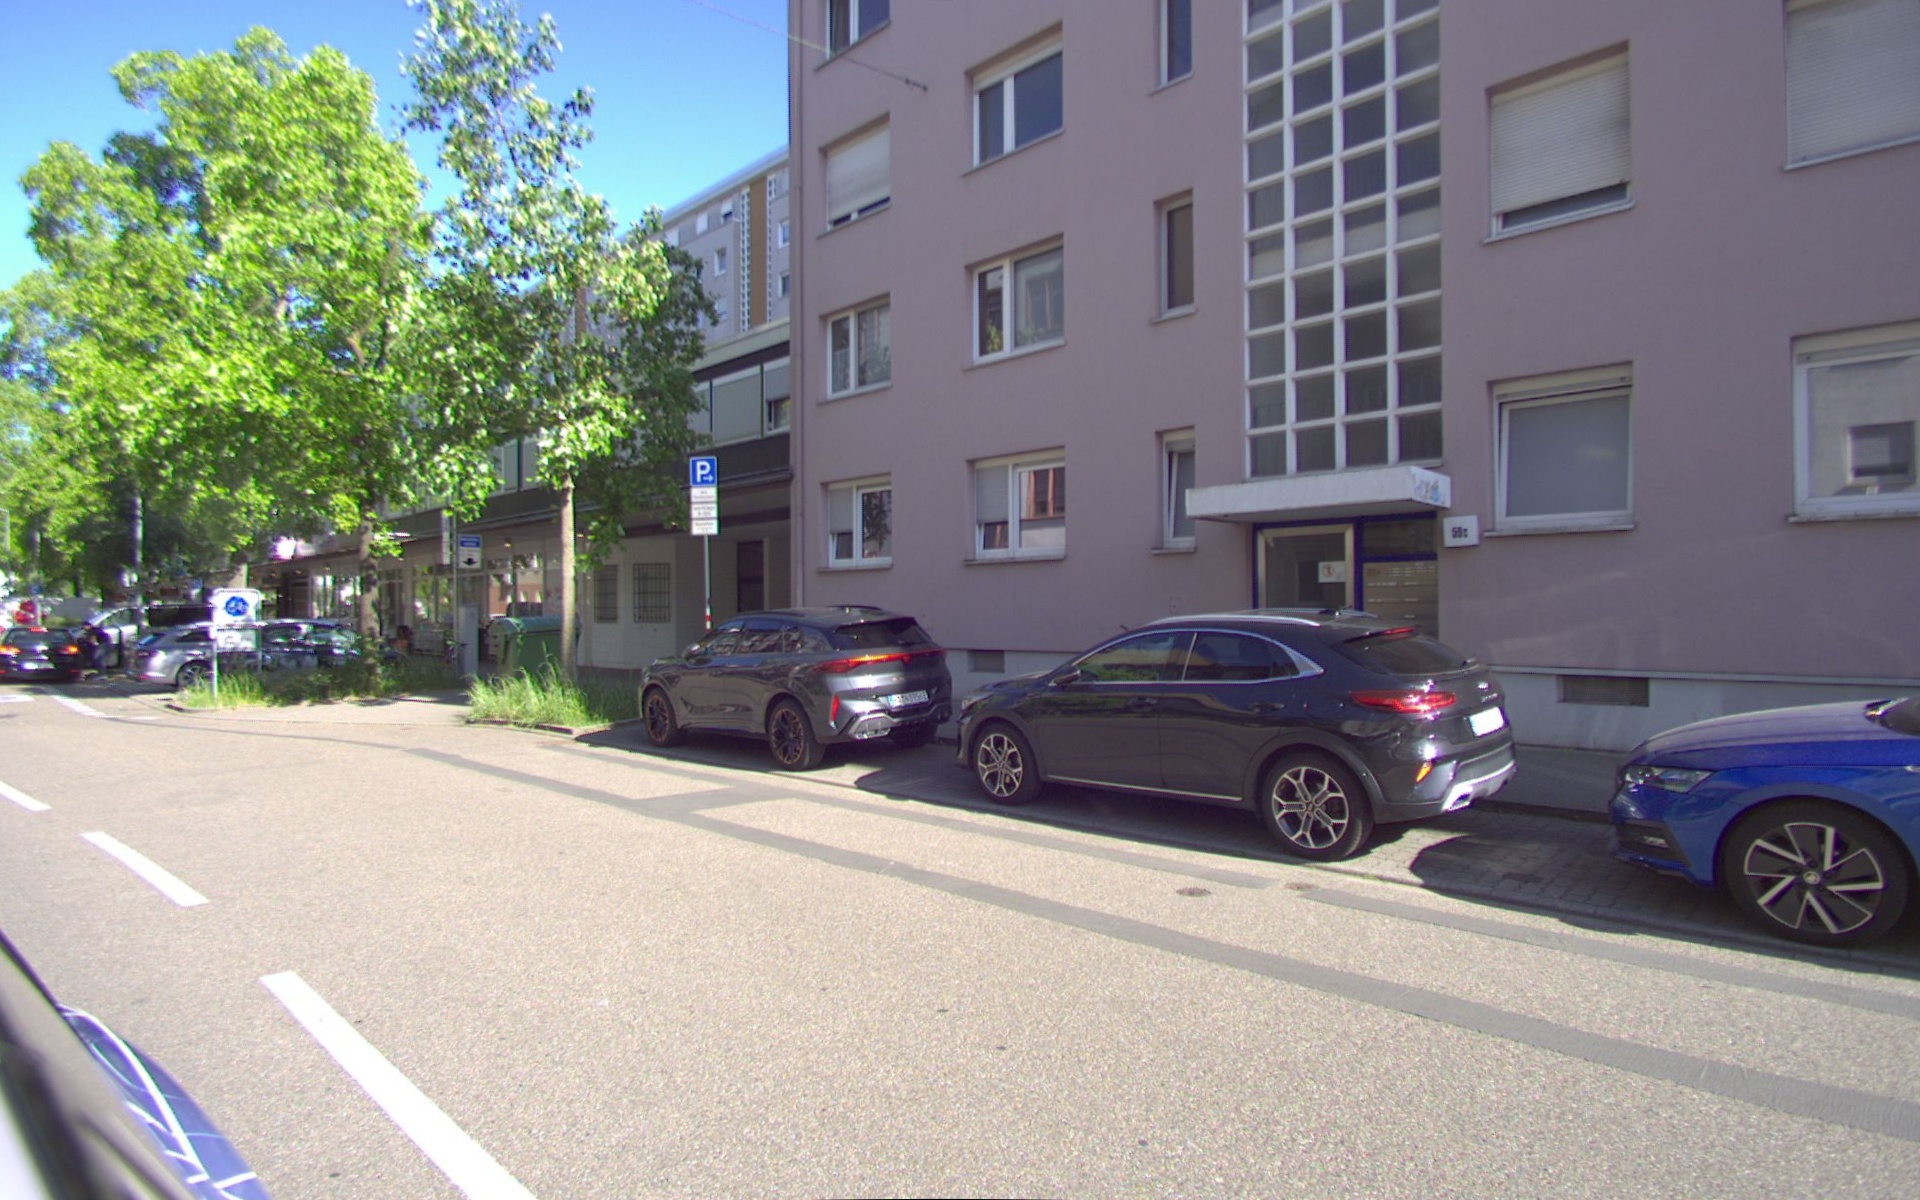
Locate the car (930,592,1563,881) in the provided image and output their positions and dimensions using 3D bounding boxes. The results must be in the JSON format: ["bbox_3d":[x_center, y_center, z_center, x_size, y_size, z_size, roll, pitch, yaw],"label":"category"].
[{"bbox_3d":[1.891,0.776,7.645,1.796,1.519,4.248,-3,1,-45],"label":"car"}]

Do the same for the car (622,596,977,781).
[{"bbox_3d":[-1.949,0.847,11.355,1.797,1.604,4.143,-4,2,-45],"label":"car"}]

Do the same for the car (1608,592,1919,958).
[{"bbox_3d":[5.466,0.707,4.026,4.613,1.476,1.698,-2,1,43],"label":"car"}]

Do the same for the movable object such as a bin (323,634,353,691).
[{"bbox_3d":[-13.893,1.393,22.608,0.410,1.234,0.482,-2,-1,44],"label":"movable object such as a bin"}]

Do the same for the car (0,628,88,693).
[{"bbox_3d":[-23.454,1.474,25.632,1.841,1.475,4.003,0,-1,-44],"label":"car"}]

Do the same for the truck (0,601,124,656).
[{"bbox_3d":[-46.071,1.412,51.399,1.994,2.615,5.261,-1,-1,33],"label":"truck"}]

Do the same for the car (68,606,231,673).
[{"bbox_3d":[-26.304,1.235,32.925,2.001,2.047,3.942,-2,-1,44],"label":"car"}]

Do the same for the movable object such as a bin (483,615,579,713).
[{"bbox_3d":[-7.223,1.046,17.046,1.229,1.557,1.020,0,-1,-42],"label":"movable object such as a bin"}]

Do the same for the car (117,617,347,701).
[{"bbox_3d":[-16.370,1.243,22.870,2.001,1.687,3.942,-2,-1,44],"label":"car"}]

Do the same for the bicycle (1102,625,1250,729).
[{"bbox_3d":[2.431,0.841,11.531,1.650,1.084,0.386,-1,3,45],"label":"bicycle"}]
